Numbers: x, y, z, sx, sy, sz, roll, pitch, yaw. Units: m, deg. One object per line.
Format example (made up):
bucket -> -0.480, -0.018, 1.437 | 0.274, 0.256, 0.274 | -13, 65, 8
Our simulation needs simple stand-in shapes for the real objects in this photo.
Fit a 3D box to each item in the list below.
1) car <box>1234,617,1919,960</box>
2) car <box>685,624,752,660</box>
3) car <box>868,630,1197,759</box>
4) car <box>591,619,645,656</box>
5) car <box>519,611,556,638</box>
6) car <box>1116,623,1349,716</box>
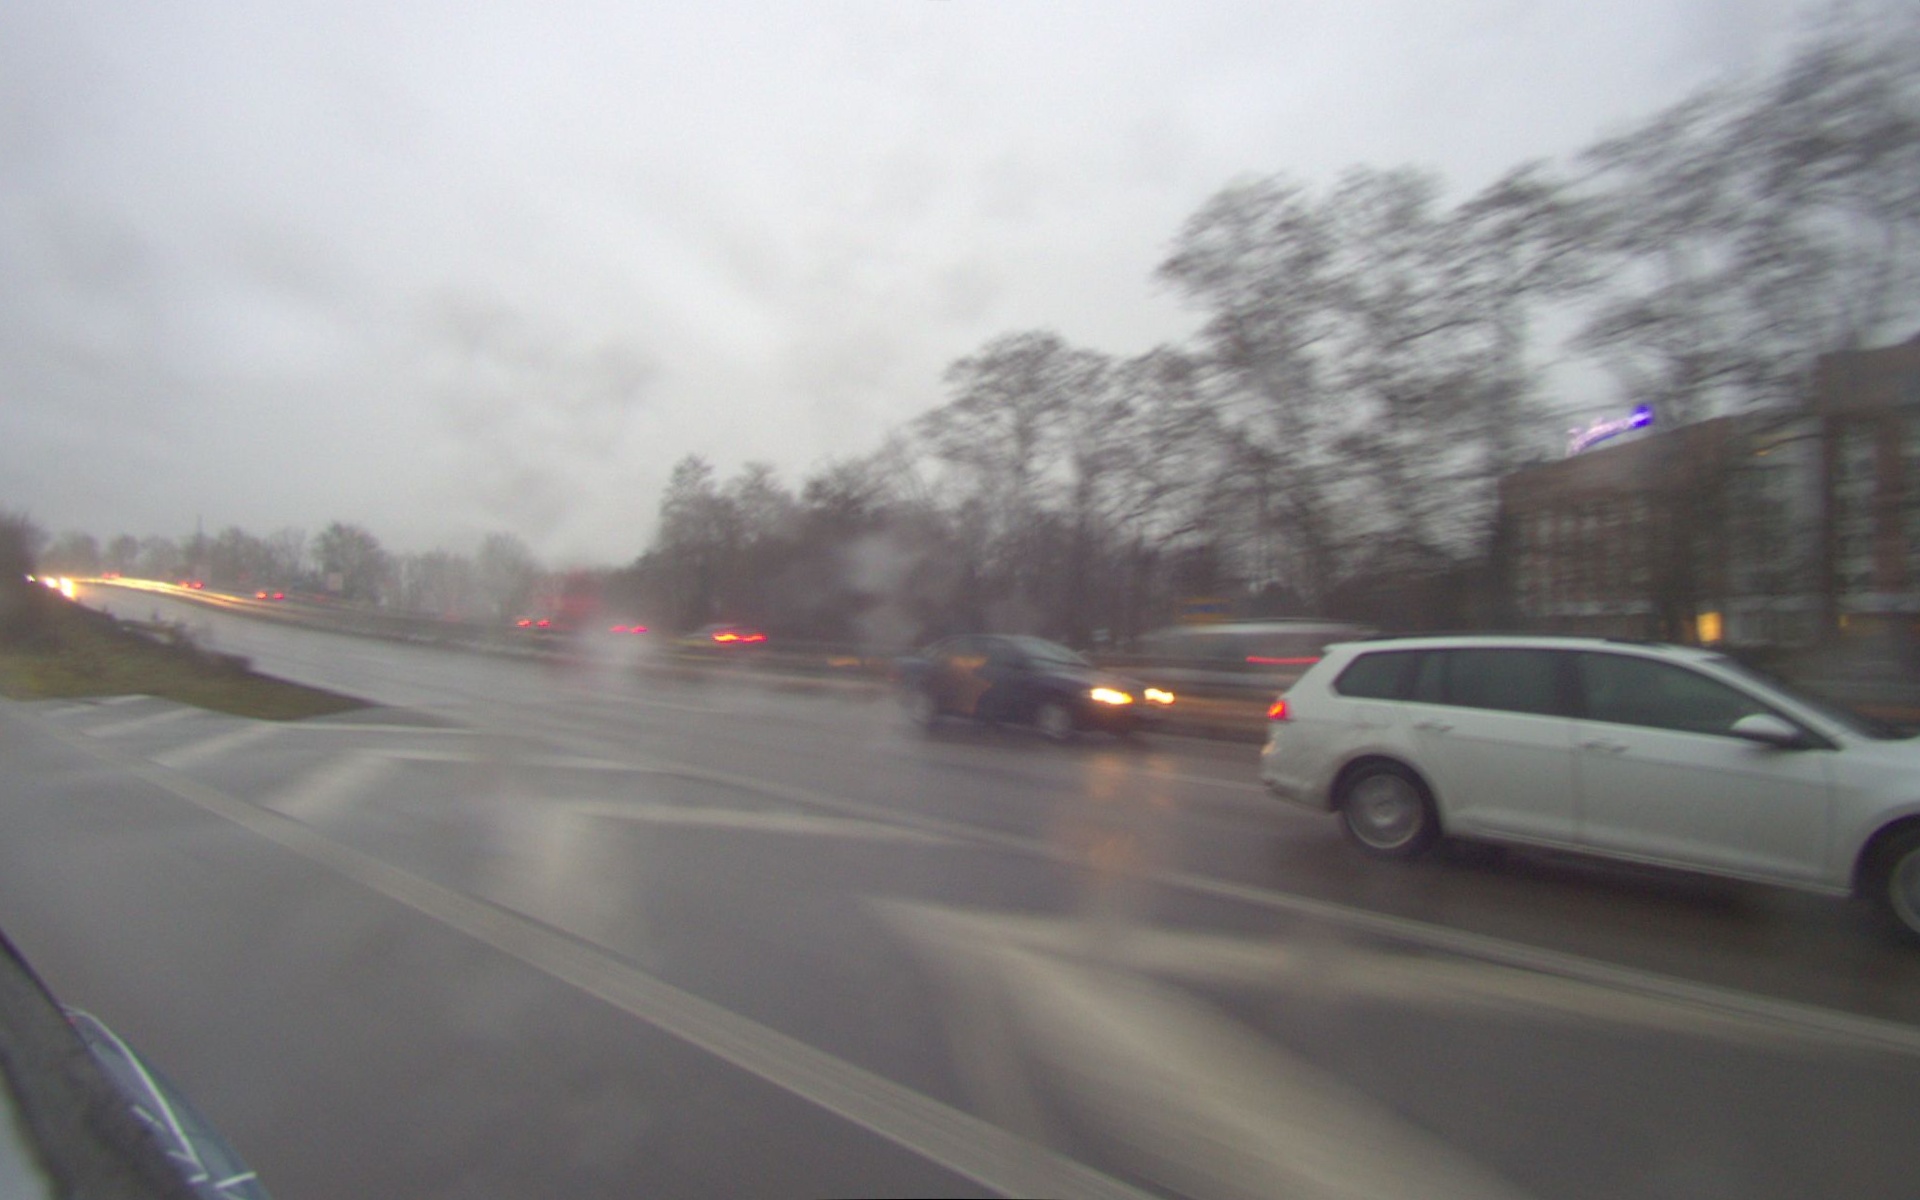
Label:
car -> 4.259, 0.905, 6.017 | 1.924, 1.532, 4.791 | 3, -3, -43
car -> -11.373, 1.940, 47.546 | 1.440, 1.576, 3.654 | 1, -1, -43
car -> 0.860, 1.216, 14.445 | 1.755, 1.546, 4.705 | 2, -3, -45
car -> -20.344, 2.196, 60.059 | 1.967, 2.029, 4.010 | 0, 0, -35
car -> -32.428, 1.865, 77.620 | 1.886, 2.029, 4.011 | 0, -1, -34
car -> 5.124, 1.239, 19.438 | 1.680, 1.576, 4.045 | 1, -1, -43
